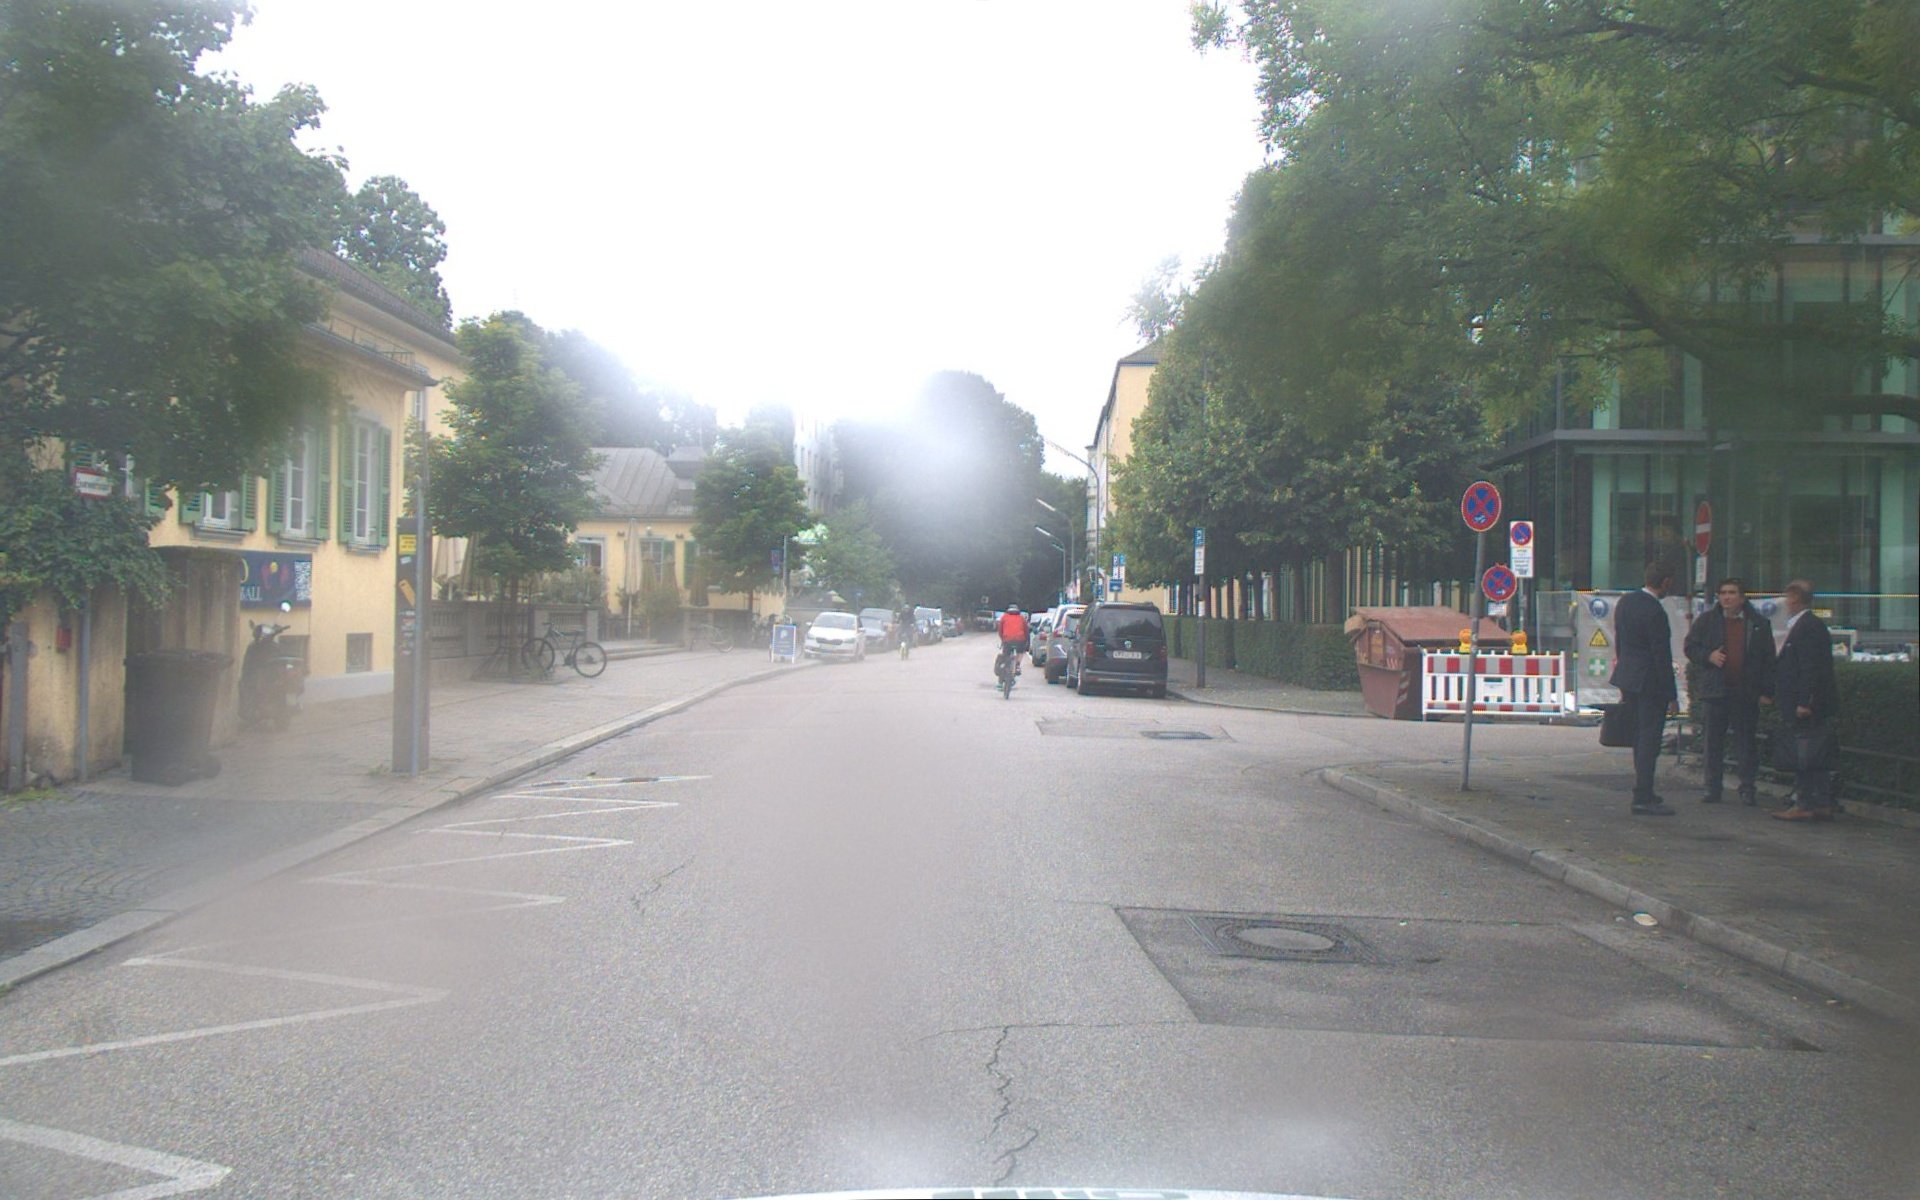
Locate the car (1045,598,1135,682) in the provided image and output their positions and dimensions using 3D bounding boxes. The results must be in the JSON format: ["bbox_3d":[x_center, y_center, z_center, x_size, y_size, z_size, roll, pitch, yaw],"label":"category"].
[{"bbox_3d":[2.954,0.885,38.400,1.824,1.825,4.510,1,0,1],"label":"car"}]

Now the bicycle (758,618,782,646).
[{"bbox_3d":[-7.339,1.247,63.955,0.608,1.022,1.619,1,-2,4],"label":"bicycle"}]

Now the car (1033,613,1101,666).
[{"bbox_3d":[3.188,1.167,50.143,1.824,1.465,4.255,1,0,1],"label":"car"}]

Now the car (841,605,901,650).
[{"bbox_3d":[-3.458,1.050,64.923,1.952,1.677,4.656,1,0,1],"label":"car"}]

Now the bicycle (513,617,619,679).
[{"bbox_3d":[-7.812,0.950,32.816,1.891,1.118,0.615,3,-1,1],"label":"bicycle"}]

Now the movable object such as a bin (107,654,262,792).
[{"bbox_3d":[-6.509,1.019,13.927,0.916,1.082,0.840,1,0,-4],"label":"movable object such as a bin"}]

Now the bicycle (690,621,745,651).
[{"bbox_3d":[-7.610,1.130,51.936,1.593,0.942,0.646,1,-2,-26],"label":"bicycle"}]

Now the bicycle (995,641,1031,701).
[{"bbox_3d":[0.922,1.239,29.228,0.608,1.022,2.140,0,-2,1],"label":"bicycle"}]

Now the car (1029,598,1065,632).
[{"bbox_3d":[5.642,0.962,107.620,1.953,2.096,4.623,1,0,-1],"label":"car"}]

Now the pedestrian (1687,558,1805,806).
[{"bbox_3d":[6.471,0.644,13.602,0.729,1.941,1.052,-1,-1,34],"label":"pedestrian"}]

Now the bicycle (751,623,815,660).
[{"bbox_3d":[-5.094,1.201,47.776,0.610,1.021,2.135,3,0,31],"label":"bicycle"}]

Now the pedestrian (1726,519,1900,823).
[{"bbox_3d":[6.361,0.512,12.387,0.727,2.172,1.055,0,-1,-2],"label":"pedestrian"}]

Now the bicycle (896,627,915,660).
[{"bbox_3d":[-1.804,1.425,54.790,0.609,1.022,2.139,1,0,-2],"label":"bicycle"}]

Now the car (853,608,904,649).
[{"bbox_3d":[-3.424,1.217,70.133,1.953,1.631,3.999,1,-1,0],"label":"car"}]

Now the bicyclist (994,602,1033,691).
[{"bbox_3d":[0.937,0.824,29.179,0.658,1.524,1.095,0,-2,0],"label":"bicyclist"}]

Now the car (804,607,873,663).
[{"bbox_3d":[-3.809,1.087,52.323,1.698,1.609,3.788,4,0,2],"label":"car"}]

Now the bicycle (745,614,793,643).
[{"bbox_3d":[-6.780,1.012,58.777,1.598,1.022,0.616,2,-2,-33],"label":"bicycle"}]

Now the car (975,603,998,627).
[{"bbox_3d":[2.517,1.434,157.052,1.953,2.135,4.000,3,0,1],"label":"car"}]

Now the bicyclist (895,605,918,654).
[{"bbox_3d":[-1.775,0.959,54.772,0.728,1.603,0.977,1,0,-1],"label":"bicyclist"}]

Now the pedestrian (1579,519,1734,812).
[{"bbox_3d":[5.368,0.490,12.806,0.727,2.172,1.055,0,-1,-2],"label":"pedestrian"}]

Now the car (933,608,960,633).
[{"bbox_3d":[-0.960,1.449,119.265,1.773,1.712,4.000,1,0,1],"label":"car"}]

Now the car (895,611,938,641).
[{"bbox_3d":[-2.307,1.343,87.885,1.952,1.512,4.001,1,0,3],"label":"car"}]

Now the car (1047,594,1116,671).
[{"bbox_3d":[3.237,0.839,44.614,1.713,1.977,4.228,1,0,2],"label":"car"}]

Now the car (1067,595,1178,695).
[{"bbox_3d":[3.224,0.863,33.582,1.725,1.855,4.138,2,0,-1],"label":"car"}]

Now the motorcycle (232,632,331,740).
[{"bbox_3d":[-7.744,0.958,18.837,0.553,1.120,1.813,3,-1,-37],"label":"motorcycle"}]
